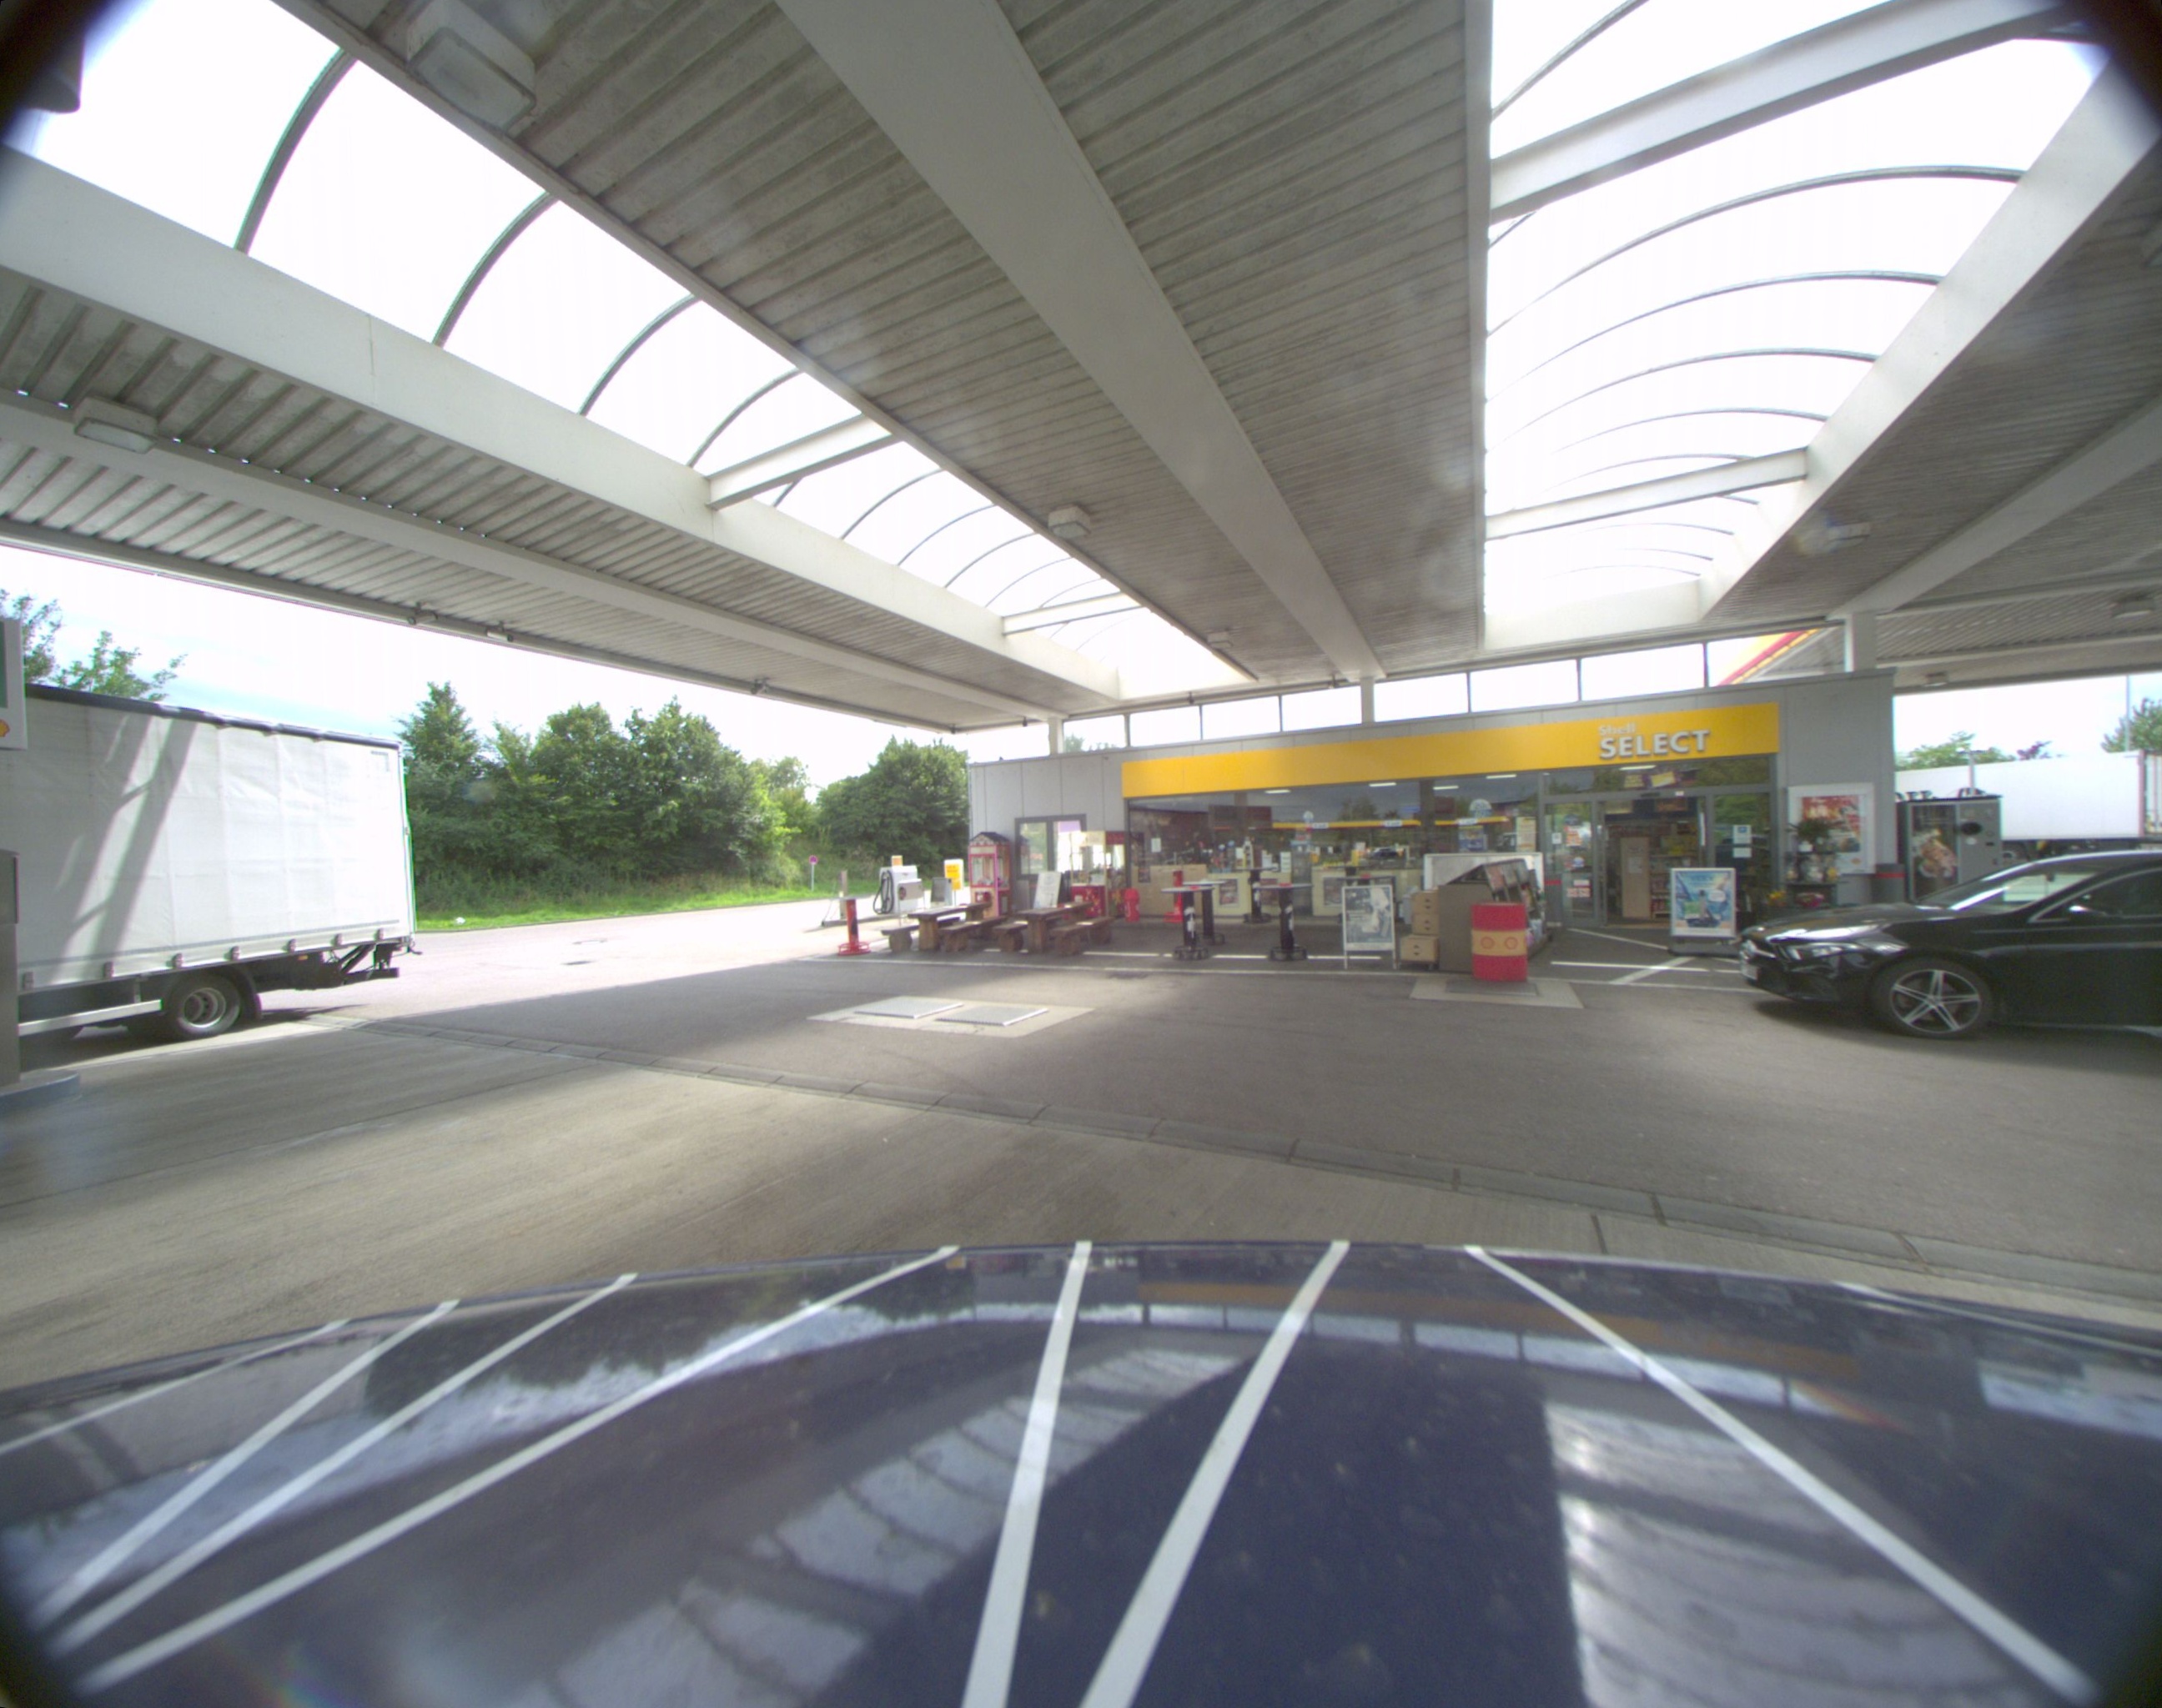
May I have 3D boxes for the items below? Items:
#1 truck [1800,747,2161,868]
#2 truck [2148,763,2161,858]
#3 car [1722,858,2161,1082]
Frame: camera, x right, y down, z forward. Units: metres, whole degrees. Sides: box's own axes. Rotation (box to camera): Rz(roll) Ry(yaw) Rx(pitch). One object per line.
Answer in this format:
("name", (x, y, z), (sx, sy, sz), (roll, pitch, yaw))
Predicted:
("truck", (35.126, -1.600, 30.067), (2.796, 3.982, 9.578), (-2, 1, -16))
("truck", (51.475, -2.024, 33.148), (3.383, 4.479, 6.239), (-2, 1, 29))
("car", (8.158, 0.820, 5.981), (4.461, 1.491, 1.782), (-2, 1, 28))
